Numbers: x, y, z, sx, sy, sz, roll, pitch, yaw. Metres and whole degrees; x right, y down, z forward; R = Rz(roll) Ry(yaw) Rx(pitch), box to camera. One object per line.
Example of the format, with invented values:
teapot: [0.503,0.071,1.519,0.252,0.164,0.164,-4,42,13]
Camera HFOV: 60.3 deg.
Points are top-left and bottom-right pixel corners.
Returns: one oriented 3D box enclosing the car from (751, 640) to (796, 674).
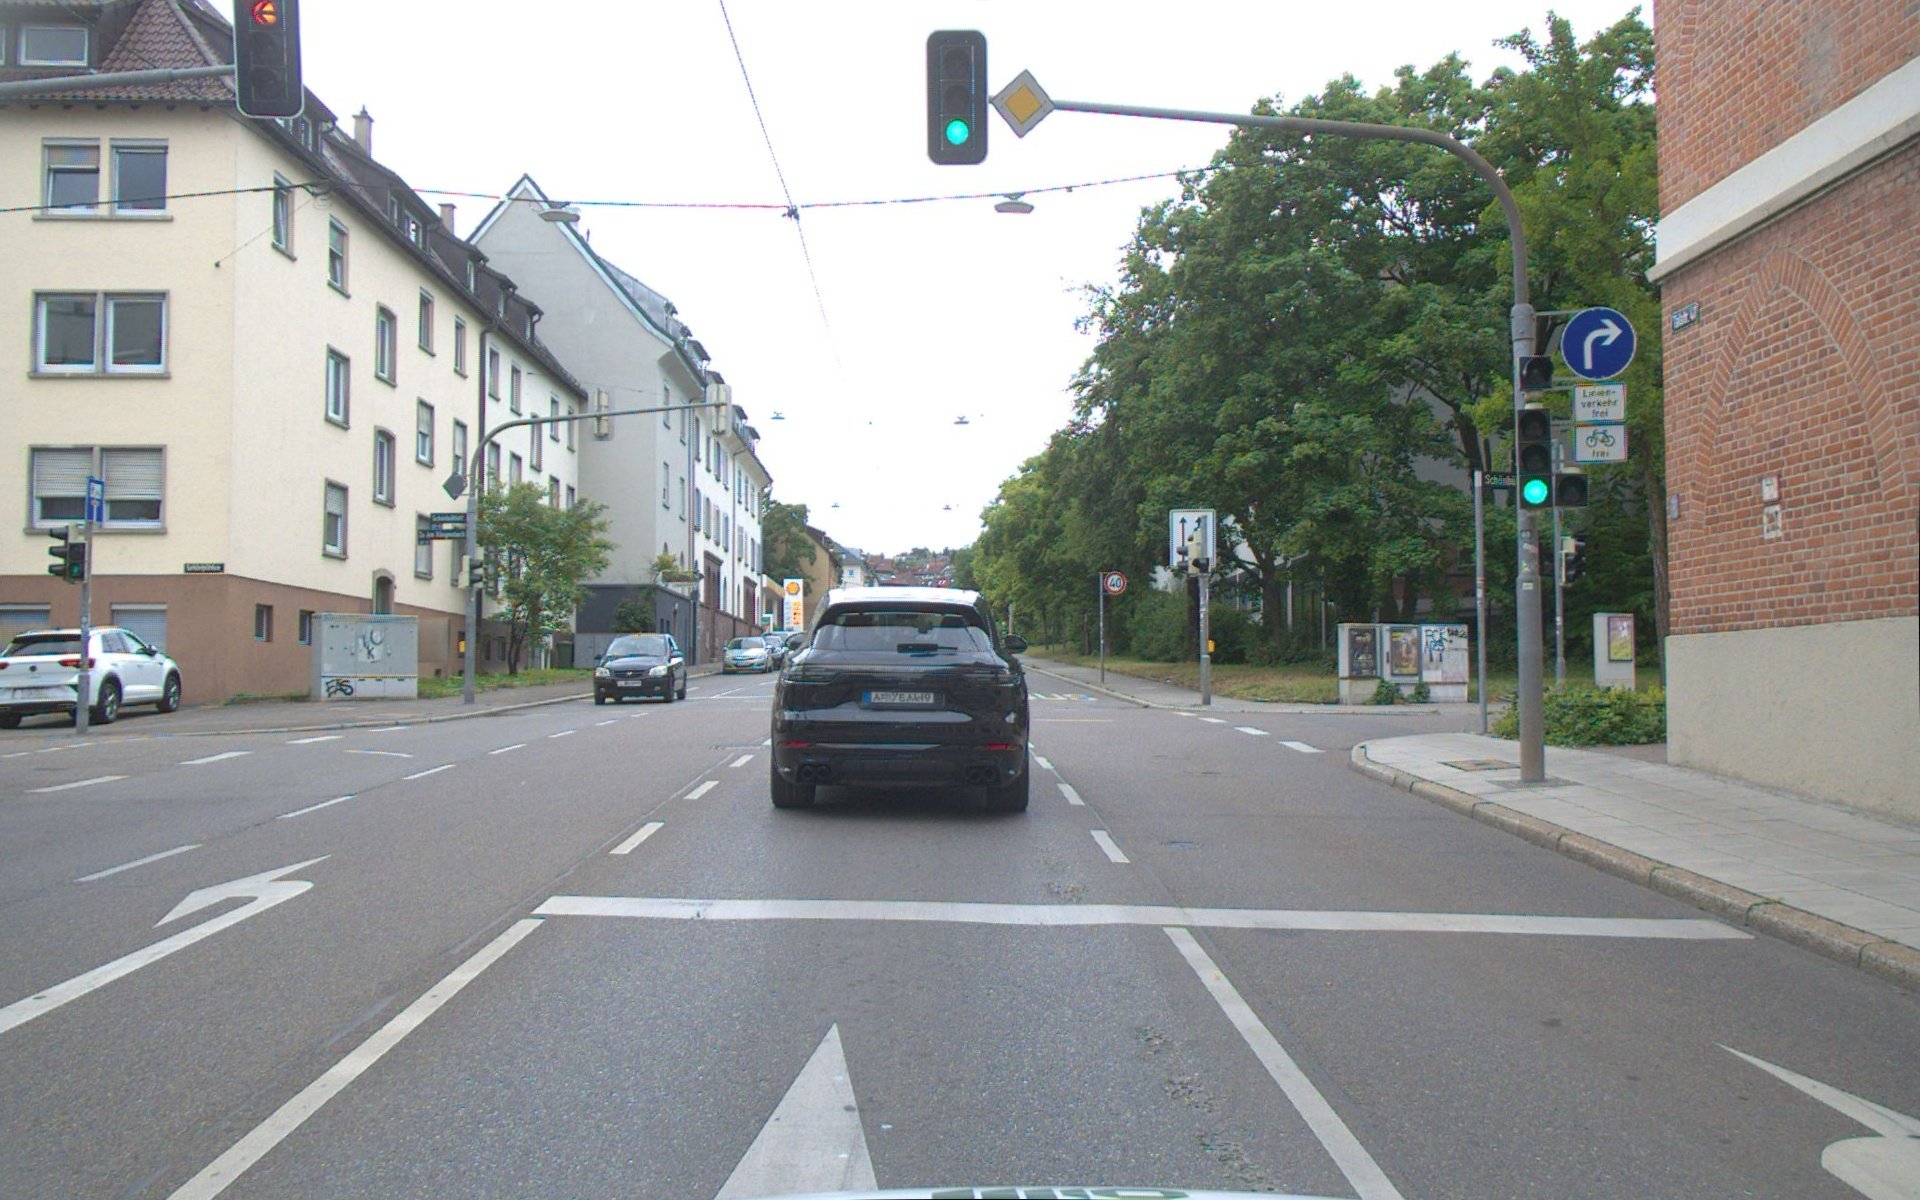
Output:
car: [-8.049,2.446,71.692,1.636,1.386,3.998,0,0,-3]

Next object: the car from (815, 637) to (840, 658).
car: [-9.636,3.447,120.324,1.636,1.386,3.998,0,0,-3]

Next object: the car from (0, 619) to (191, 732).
car: [-14.708,1.218,28.108,1.637,1.691,3.995,-3,0,-5]

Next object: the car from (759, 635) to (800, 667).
car: [-8.418,2.361,77.367,1.636,1.386,3.998,0,0,-3]

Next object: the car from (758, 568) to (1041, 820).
car: [-0.451,0.676,13.593,1.953,1.726,3.999,1,0,-1]

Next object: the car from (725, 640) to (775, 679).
car: [-8.090,2.272,63.916,1.637,1.386,3.997,0,0,-4]

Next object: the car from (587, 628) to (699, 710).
car: [-6.780,1.436,35.710,1.630,1.545,3.739,-3,0,0]
